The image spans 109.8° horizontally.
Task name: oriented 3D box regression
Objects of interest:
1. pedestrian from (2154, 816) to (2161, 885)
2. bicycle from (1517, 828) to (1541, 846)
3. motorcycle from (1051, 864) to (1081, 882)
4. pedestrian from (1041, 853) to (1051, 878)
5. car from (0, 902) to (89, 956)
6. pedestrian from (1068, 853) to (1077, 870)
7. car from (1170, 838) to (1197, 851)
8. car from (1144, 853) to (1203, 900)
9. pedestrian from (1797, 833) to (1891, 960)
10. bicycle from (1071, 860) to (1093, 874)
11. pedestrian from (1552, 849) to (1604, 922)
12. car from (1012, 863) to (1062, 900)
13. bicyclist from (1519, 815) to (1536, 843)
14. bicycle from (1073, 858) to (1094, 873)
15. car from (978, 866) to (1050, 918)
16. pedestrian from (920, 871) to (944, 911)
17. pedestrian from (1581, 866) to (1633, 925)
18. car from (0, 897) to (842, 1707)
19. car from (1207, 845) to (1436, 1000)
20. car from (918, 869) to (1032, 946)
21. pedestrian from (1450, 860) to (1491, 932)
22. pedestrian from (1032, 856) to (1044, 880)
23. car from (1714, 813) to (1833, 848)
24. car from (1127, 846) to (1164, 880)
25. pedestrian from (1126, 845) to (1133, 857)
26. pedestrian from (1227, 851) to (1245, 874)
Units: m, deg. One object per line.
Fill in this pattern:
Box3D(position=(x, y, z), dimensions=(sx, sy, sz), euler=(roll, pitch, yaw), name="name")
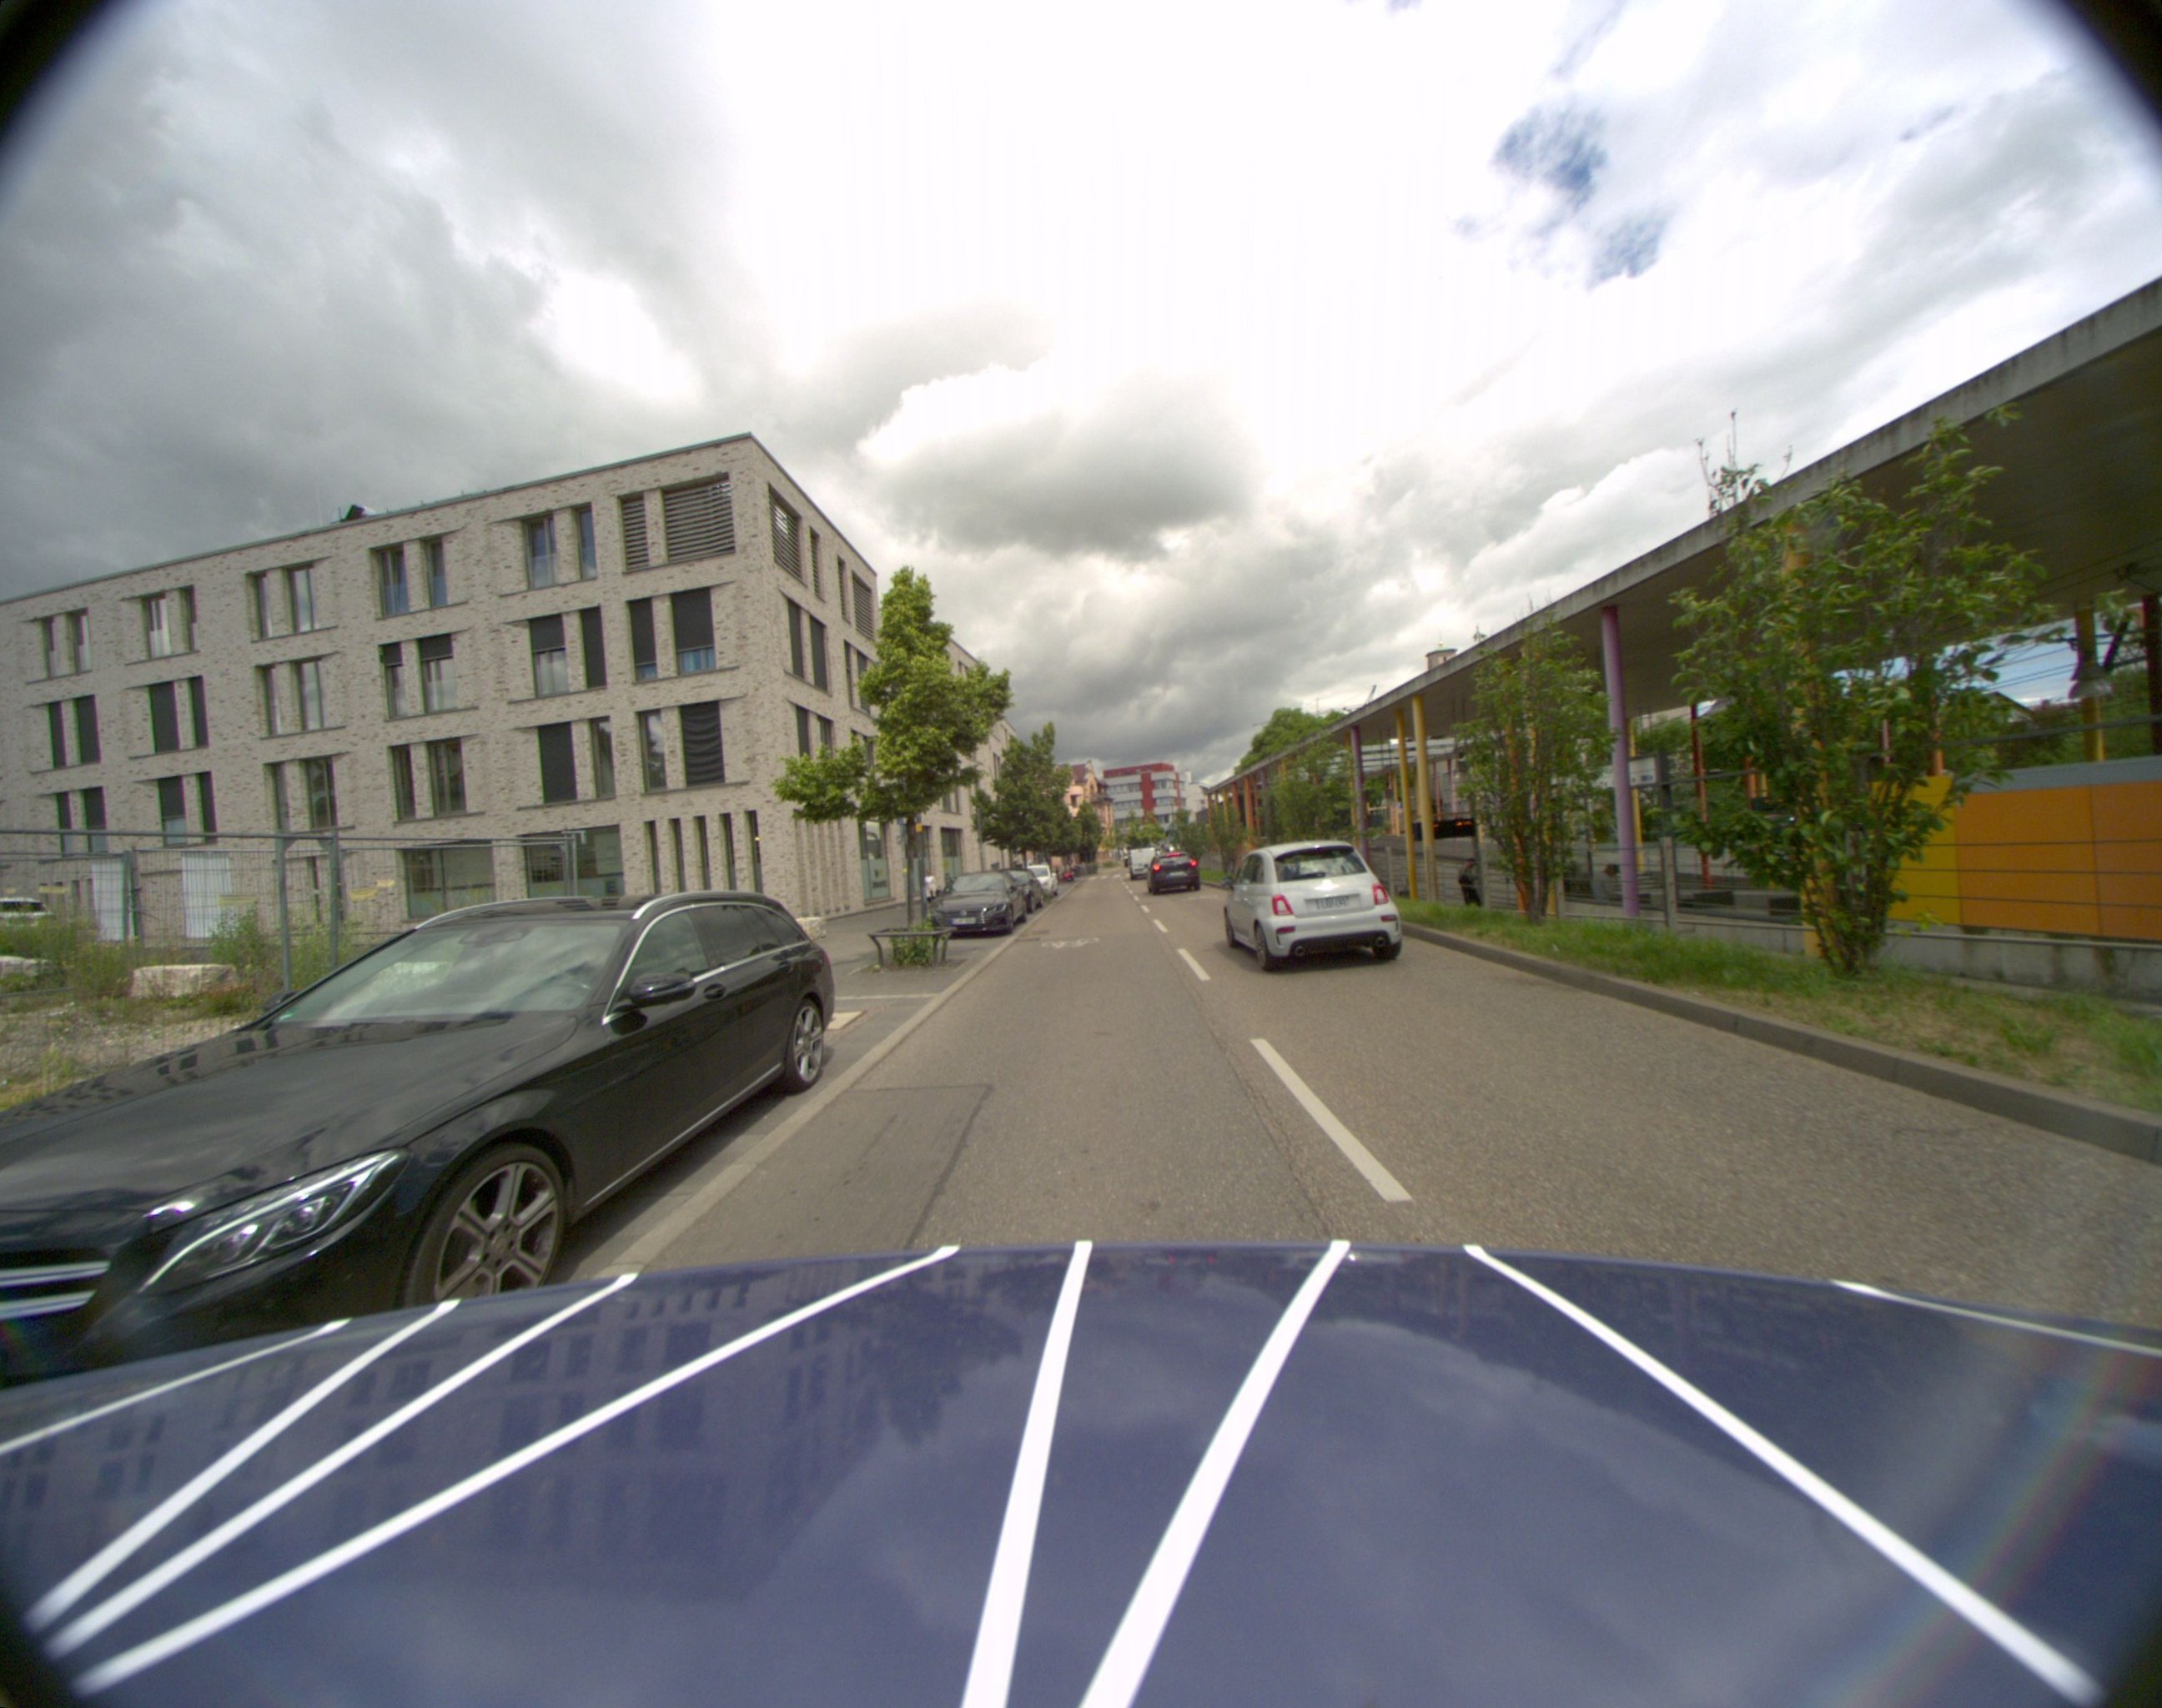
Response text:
Box3D(position=(20.829, -0.070, 14.094), dimensions=(0.687, 1.371, 0.705), euler=(-6, -1, 3), name="pedestrian")
Box3D(position=(26.100, -0.985, 44.333), dimensions=(0.485, 0.957, 1.613), euler=(-6, 2, 5), name="bicycle")
Box3D(position=(-1.094, 1.414, 55.837), dimensions=(2.052, 1.259, 0.673), euler=(-2, 2, 20), name="motorcycle")
Box3D(position=(-2.566, 0.826, 56.030), dimensions=(0.623, 1.756, 0.737), euler=(-4, 2, -1), name="pedestrian")
Box3D(position=(-34.508, 2.357, 24.265), dimensions=(4.253, 1.595, 1.872), euler=(-1, -3, 14), name="car")
Box3D(position=(-0.872, 0.808, 79.210), dimensions=(0.659, 1.731, 1.018), euler=(-4, 1, 8), name="pedestrian")
Box3D(position=(16.363, -1.578, 121.306), dimensions=(4.005, 1.653, 1.839), euler=(-7, 2, -36), name="car")
Box3D(position=(3.521, 0.801, 29.475), dimensions=(1.729, 1.512, 4.255), euler=(-7, 0, 2), name="car")
Box3D(position=(10.296, 0.564, 10.270), dimensions=(0.532, 1.623, 0.548), euler=(-6, -1, 1), name="pedestrian")
Box3D(position=(0.086, 1.198, 69.781), dimensions=(1.826, 1.125, 0.756), euler=(-3, 1, 9), name="bicycle")
Box3D(position=(11.454, 0.717, 17.534), dimensions=(0.631, 1.604, 0.636), euler=(-6, -1, 3), name="pedestrian")
Box3D(position=(-1.933, 1.201, 34.524), dimensions=(1.696, 1.475, 3.798), euler=(-3, 0, 4), name="car")
Box3D(position=(26.055, -1.469, 44.374), dimensions=(0.485, 1.584, 0.681), euler=(-6, 2, 5), name="bicyclist")
Box3D(position=(0.248, 1.073, 70.593), dimensions=(1.826, 1.194, 0.756), euler=(-3, 1, 9), name="bicycle")
Box3D(position=(-2.157, 1.196, 25.498), dimensions=(1.696, 1.452, 4.147), euler=(-3, 0, 4), name="car")
Box3D(position=(-5.730, 1.405, 29.261), dimensions=(0.608, 1.464, 0.791), euler=(-3, 0, 10), name="pedestrian")
Box3D(position=(10.177, 0.799, 14.721), dimensions=(0.566, 1.076, 0.484), euler=(-6, -1, 1), name="pedestrian")
Box3D(position=(-2.835, 1.096, 3.746), dimensions=(1.786, 1.443, 4.476), euler=(-3, 0, 0), name="car")
Box3D(position=(2.979, 0.768, 10.352), dimensions=(1.775, 1.499, 4.000), euler=(-7, 0, 1), name="car")
Box3D(position=(-2.393, 1.190, 18.436), dimensions=(1.869, 1.442, 4.644), euler=(-3, 0, 2), name="car")
Box3D(position=(10.329, 1.097, 20.167), dimensions=(0.588, 1.820, 0.710), euler=(-6, 2, 4), name="pedestrian")
Box3D(position=(-3.202, 1.038, 56.670), dimensions=(0.757, 1.756, 0.734), euler=(-4, 2, -4), name="pedestrian")
Box3D(position=(34.490, -1.186, 37.975), dimensions=(3.993, 1.329, 1.727), euler=(-5, 2, 17), name="car")
Box3D(position=(4.142, 0.554, 49.704), dimensions=(2.009, 1.906, 5.065), euler=(-6, 0, 2), name="car")
Box3D(position=(7.150, -0.457, 112.641), dimensions=(0.696, 1.649, 0.741), euler=(-5, 2, 27), name="pedestrian")
Box3D(position=(10.966, 0.590, 53.792), dimensions=(0.929, 1.556, 0.815), euler=(-6, 2, 1), name="pedestrian")
